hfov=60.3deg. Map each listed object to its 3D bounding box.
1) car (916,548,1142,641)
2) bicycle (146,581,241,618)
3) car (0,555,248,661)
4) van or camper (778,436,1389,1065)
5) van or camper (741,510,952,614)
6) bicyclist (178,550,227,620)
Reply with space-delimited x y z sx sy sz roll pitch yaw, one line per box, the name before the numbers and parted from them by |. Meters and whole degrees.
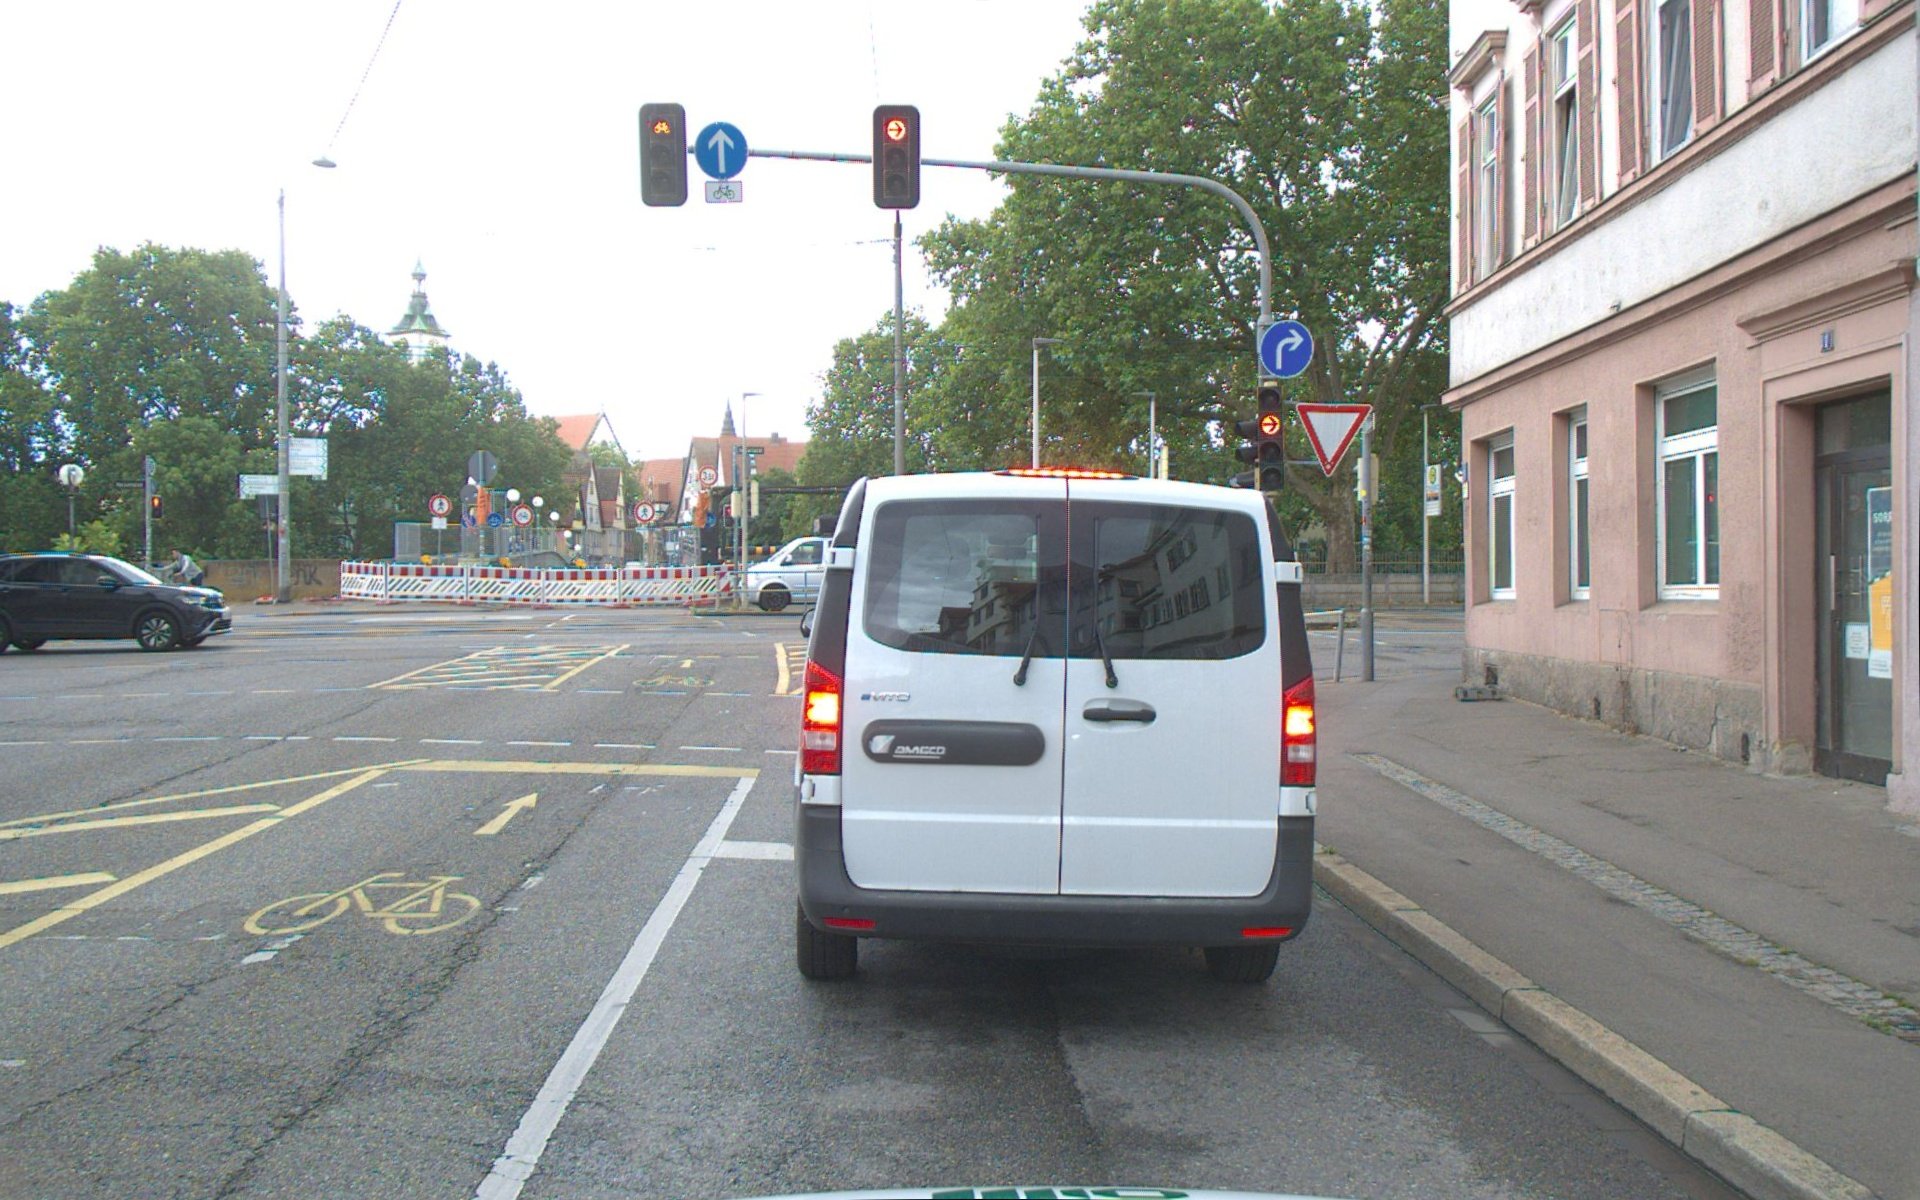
car | 1.149 -0.120 27.970 3.667 1.453 1.829 -1 2 1
bicycle | -19.721 -0.027 42.584 2.120 0.907 0.749 -1 2 -42
car | -14.041 0.099 27.074 3.996 1.600 1.824 -1 2 -10
van or camper | 0.254 0.405 7.418 1.899 1.958 4.438 1 2 -4
van or camper | -2.987 -0.948 43.147 5.295 2.558 2.031 1 -1 -11
bicyclist | -19.555 -0.404 42.718 0.996 1.774 0.744 -1 1 -41
